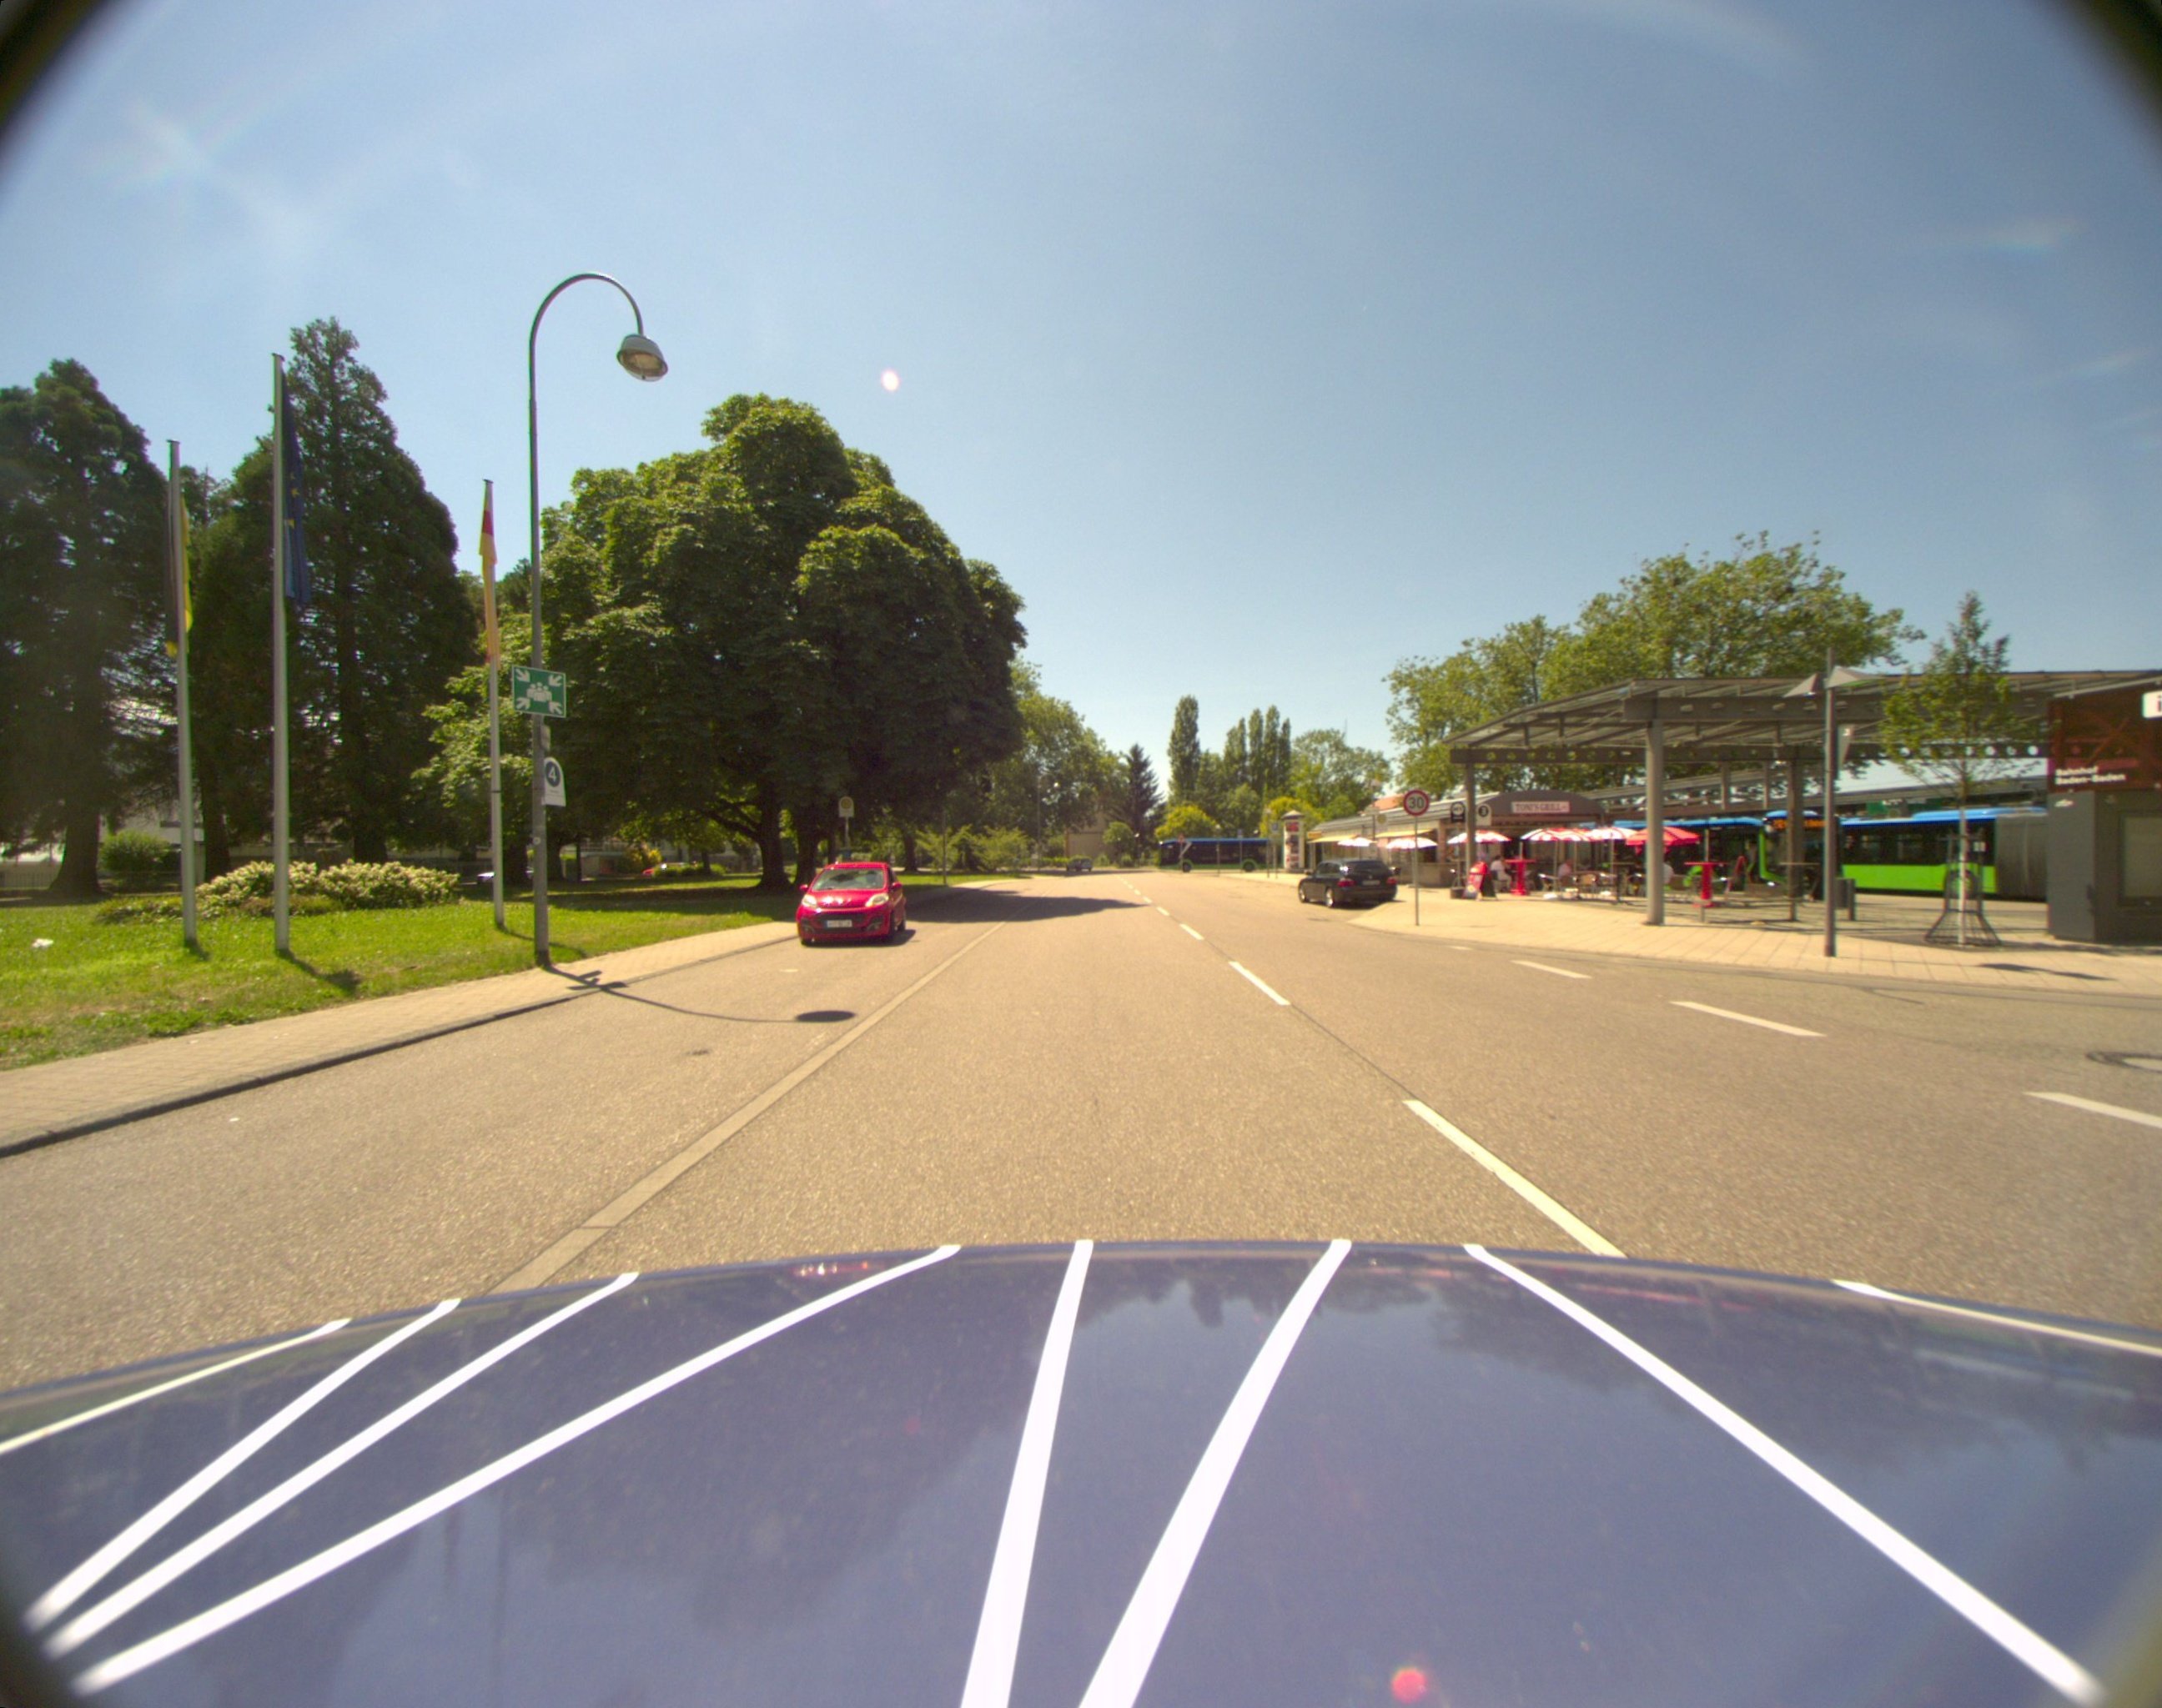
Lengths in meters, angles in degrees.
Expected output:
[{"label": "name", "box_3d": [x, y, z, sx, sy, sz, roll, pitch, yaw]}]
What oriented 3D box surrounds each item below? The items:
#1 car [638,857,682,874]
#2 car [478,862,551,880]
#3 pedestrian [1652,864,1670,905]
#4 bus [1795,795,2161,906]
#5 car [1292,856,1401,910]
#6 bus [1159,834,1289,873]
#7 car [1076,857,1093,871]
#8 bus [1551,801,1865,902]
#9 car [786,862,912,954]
[{"label": "car", "box_3d": [-42.321, 1.142, 76.454, 1.700, 1.591, 4.002, 0, 2, 11]}, {"label": "car", "box_3d": [-45.879, 1.360, 61.670, 1.667, 1.280, 4.720, 0, 1, 16]}, {"label": "pedestrian", "box_3d": [16.351, 0.861, 21.419, 0.371, 1.116, 0.427, 1, 2, 35]}, {"label": "bus", "box_3d": [31.106, -0.081, 24.248, 2.874, 3.019, 15.520, 0, 0, 4]}, {"label": "car", "box_3d": [8.185, 0.827, 23.913, 1.723, 1.470, 4.785, 0, 0, 0]}, {"label": "bus", "box_3d": [13.879, -0.042, 74.165, 12.202, 3.505, 2.171, -1, 0, 11]}, {"label": "car", "box_3d": [0.380, 1.087, 85.492, 1.819, 1.435, 4.159, -2, -1, 1]}, {"label": "bus", "box_3d": [23.713, -0.063, 30.232, 2.972, 3.214, 11.848, 0, 0, 1]}, {"label": "car", "box_3d": [-4.294, 0.922, 14.602, 1.724, 1.470, 3.703, 0, 0, -7]}]
